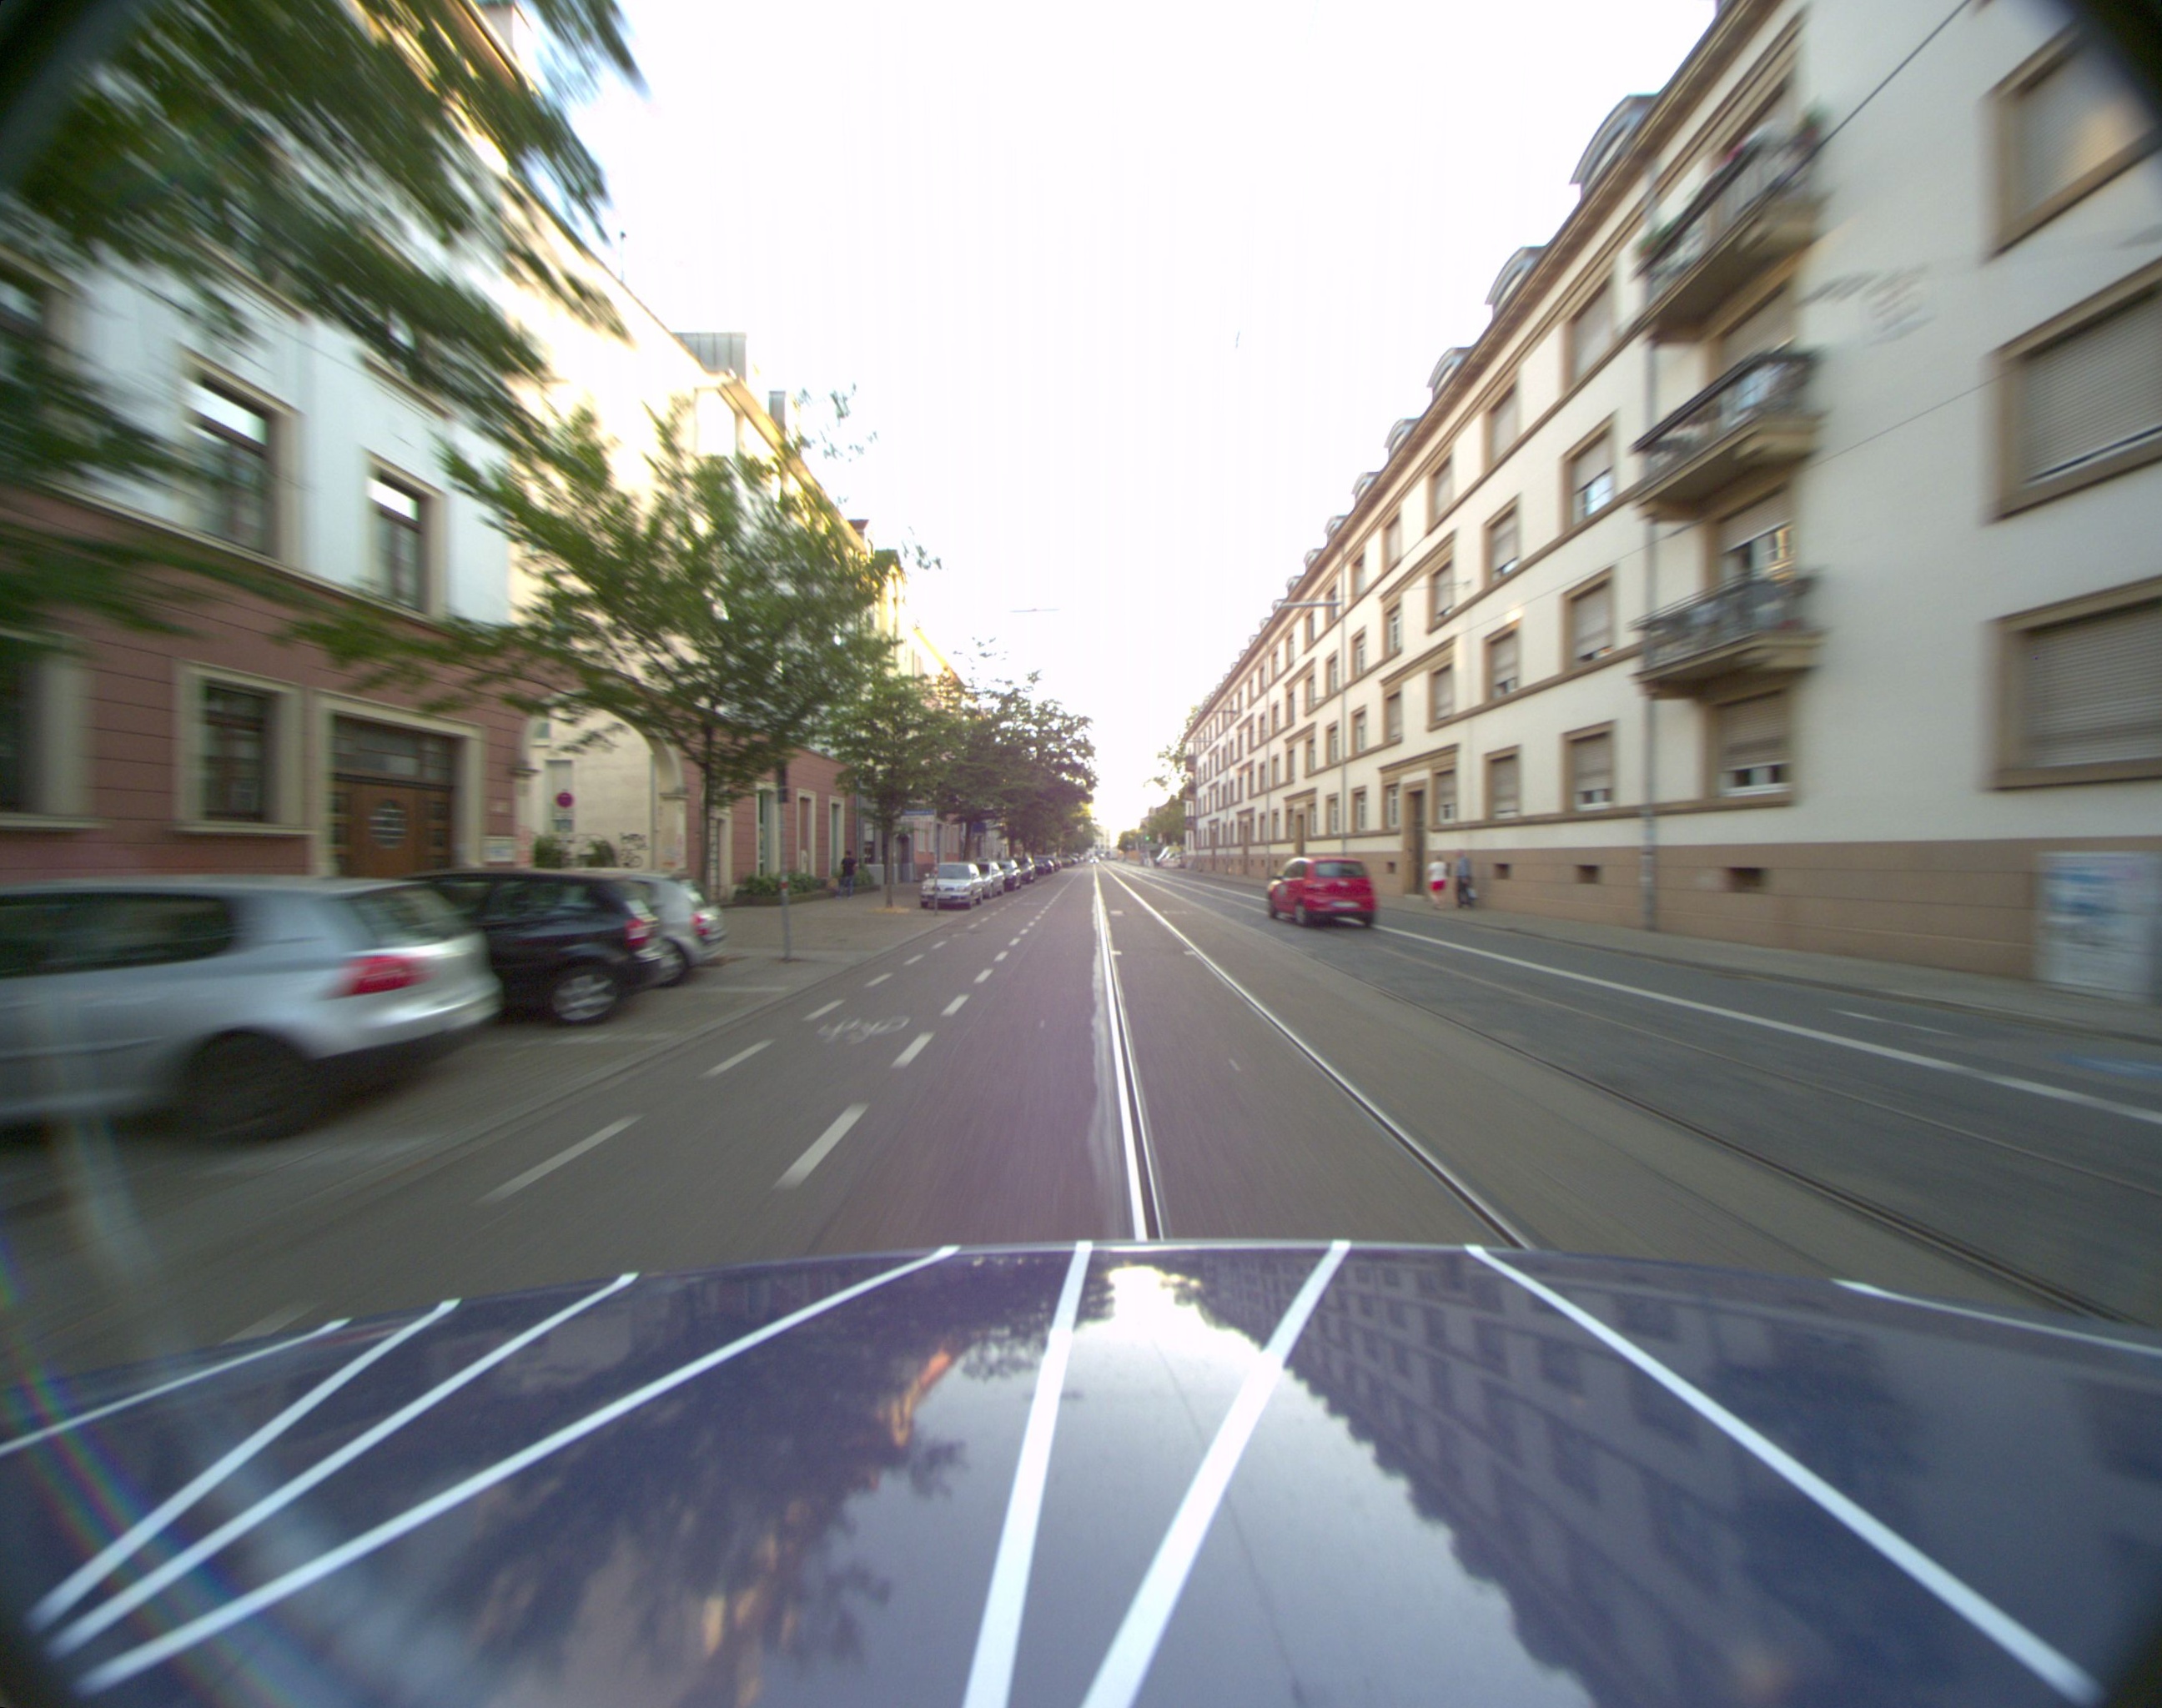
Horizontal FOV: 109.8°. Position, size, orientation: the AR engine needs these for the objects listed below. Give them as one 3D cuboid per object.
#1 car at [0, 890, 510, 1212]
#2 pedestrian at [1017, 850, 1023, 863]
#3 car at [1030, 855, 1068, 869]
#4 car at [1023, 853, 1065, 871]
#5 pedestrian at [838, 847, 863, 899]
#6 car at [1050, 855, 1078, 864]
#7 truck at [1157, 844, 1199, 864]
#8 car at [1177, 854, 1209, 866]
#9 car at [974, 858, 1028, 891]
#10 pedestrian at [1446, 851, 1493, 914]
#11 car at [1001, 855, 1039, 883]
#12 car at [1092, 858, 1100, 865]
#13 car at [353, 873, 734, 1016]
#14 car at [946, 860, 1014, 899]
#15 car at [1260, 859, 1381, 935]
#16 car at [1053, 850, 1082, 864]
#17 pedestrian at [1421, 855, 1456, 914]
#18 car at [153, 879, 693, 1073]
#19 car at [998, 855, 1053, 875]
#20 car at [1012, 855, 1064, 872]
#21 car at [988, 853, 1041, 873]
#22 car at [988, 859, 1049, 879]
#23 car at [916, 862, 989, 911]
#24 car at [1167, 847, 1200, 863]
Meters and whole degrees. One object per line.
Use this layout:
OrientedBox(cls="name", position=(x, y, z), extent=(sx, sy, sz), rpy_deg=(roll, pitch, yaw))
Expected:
OrientedBox(cls="car", position=(-5.820, 1.020, 4.512), extent=(3.571, 1.507, 1.740), rpy_deg=(1, 0, -24))
OrientedBox(cls="pedestrian", position=(-8.585, 0.405, 107.379), extent=(0.558, 1.820, 0.614), rpy_deg=(0, -2, 38))
OrientedBox(cls="car", position=(-3.633, 0.864, 85.808), extent=(4.003, 1.531, 1.776), rpy_deg=(0, 0, -18))
OrientedBox(cls="car", position=(-3.918, 0.802, 80.212), extent=(4.004, 1.805, 1.821), rpy_deg=(1, 0, -20))
OrientedBox(cls="pedestrian", position=(-8.055, 0.667, 26.563), extent=(0.682, 1.805, 0.600), rpy_deg=(0, 1, 2))
OrientedBox(cls="car", position=(-3.049, 1.018, 134.258), extent=(4.643, 1.508, 1.807), rpy_deg=(1, -1, -25))
OrientedBox(cls="truck", position=(17.236, 0.039, 135.082), extent=(7.077, 3.408, 2.566), rpy_deg=(-1, 0, -2))
OrientedBox(cls="car", position=(18.182, 0.920, 123.495), extent=(4.844, 1.862, 2.016), rpy_deg=(-1, 0, 3))
OrientedBox(cls="car", position=(-3.848, 0.950, 37.484), extent=(1.998, 1.480, 5.036), rpy_deg=(1, 0, 2))
OrientedBox(cls="pedestrian", position=(10.687, 0.773, 20.928), extent=(0.797, 1.691, 0.981), rpy_deg=(0, 0, -1))
OrientedBox(cls="car", position=(-3.695, 0.877, 46.874), extent=(1.884, 1.608, 4.262), rpy_deg=(2, 0, 1))
OrientedBox(cls="car", position=(3.845, 1.994, 190.941), extent=(1.998, 1.674, 4.001), rpy_deg=(-1, -1, 1))
OrientedBox(cls="car", position=(-6.327, 1.000, 9.411), extent=(3.496, 1.421, 1.617), rpy_deg=(0, 2, -18))
OrientedBox(cls="car", position=(-3.988, 0.986, 30.755), extent=(1.784, 1.373, 4.692), rpy_deg=(2, 0, 4))
OrientedBox(cls="car", position=(5.449, 0.911, 17.746), extent=(1.563, 1.549, 3.754), rpy_deg=(1, 0, -1))
OrientedBox(cls="car", position=(-2.643, 0.673, 148.399), extent=(5.236, 2.605, 1.925), rpy_deg=(1, 0, -15))
OrientedBox(cls="pedestrian", position=(9.970, 0.834, 21.213), extent=(0.592, 1.600, 0.811), rpy_deg=(0, 0, -1))
OrientedBox(cls="car", position=(-5.778, 0.982, 7.282), extent=(3.571, 1.420, 1.666), rpy_deg=(1, 0, -24))
OrientedBox(cls="car", position=(-4.346, 0.884, 59.530), extent=(3.977, 1.544, 1.718), rpy_deg=(1, -1, -16))
OrientedBox(cls="car", position=(-3.851, 0.840, 68.610), extent=(4.386, 1.455, 1.721), rpy_deg=(1, 0, 6))
OrientedBox(cls="car", position=(-5.410, 0.767, 61.617), extent=(4.004, 1.584, 1.717), rpy_deg=(1, -1, -20))
OrientedBox(cls="car", position=(-4.654, 1.088, 56.499), extent=(4.268, 1.380, 1.617), rpy_deg=(0, 0, -24))
OrientedBox(cls="car", position=(-4.097, 1.004, 24.672), extent=(1.623, 1.373, 3.776), rpy_deg=(2, 0, 1))
OrientedBox(cls="car", position=(17.347, 0.188, 129.210), extent=(5.233, 2.581, 2.229), rpy_deg=(-1, 0, -2))
